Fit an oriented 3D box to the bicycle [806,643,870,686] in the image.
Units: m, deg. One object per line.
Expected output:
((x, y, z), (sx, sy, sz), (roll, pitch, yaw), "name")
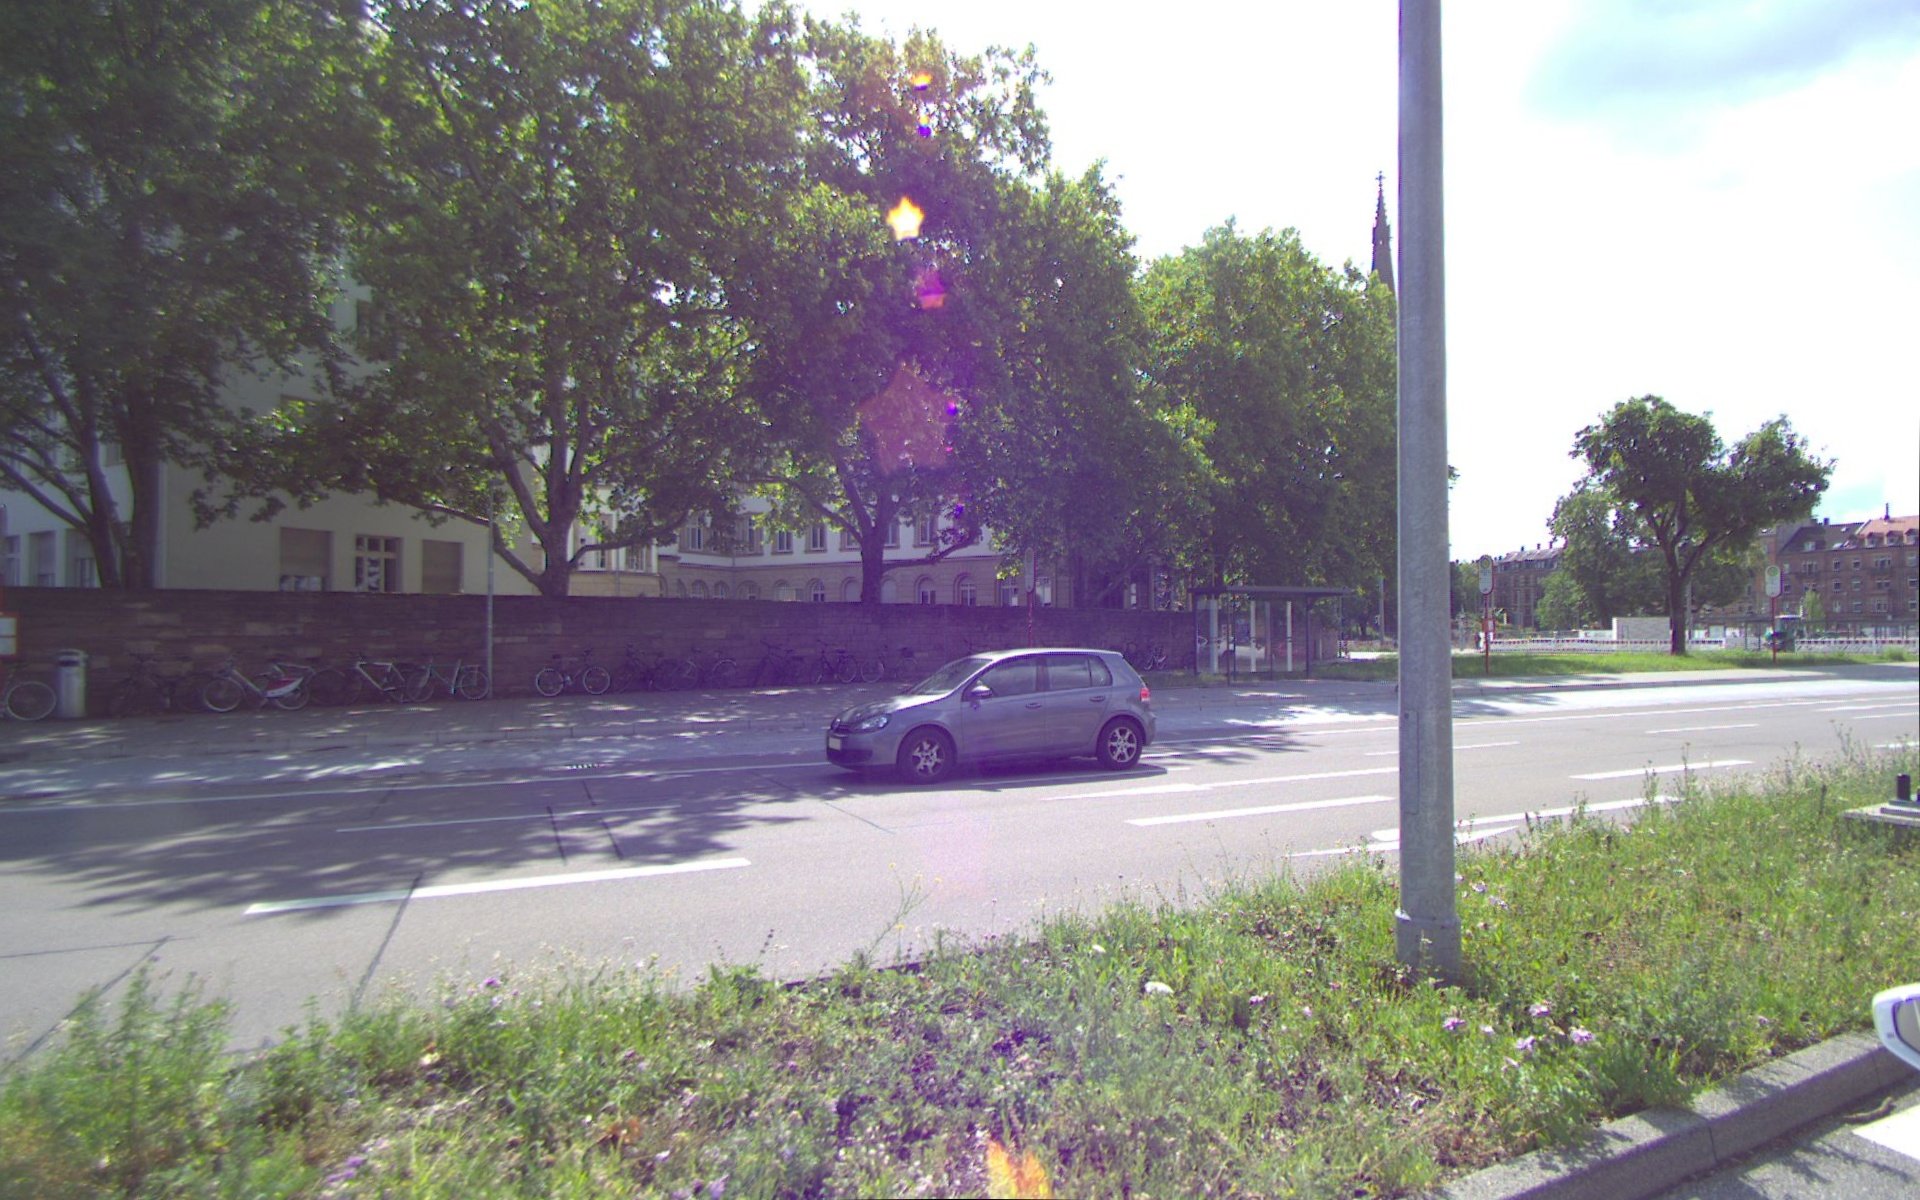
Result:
((-3.252, 1.707, 26.926), (0.576, 1.087, 1.745), (-1, -2, 44), "bicycle")

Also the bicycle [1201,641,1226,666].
((10.700, 2.239, 42.425), (0.387, 1.024, 1.361), (-1, -2, 45), "bicycle")

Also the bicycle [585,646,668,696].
((-7.653, 1.606, 23.095), (1.741, 1.087, 0.577), (1, -2, -40), "bicycle")

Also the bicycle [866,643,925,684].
((-1.805, 1.781, 28.431), (0.576, 1.087, 1.745), (-1, -2, 44), "bicycle")

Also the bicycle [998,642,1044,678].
((1.955, 1.908, 32.176), (0.576, 1.087, 1.622), (-1, -2, 44), "bicycle")

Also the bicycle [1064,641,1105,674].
((4.302, 1.984, 34.694), (0.576, 1.087, 1.622), (-1, -2, 44), "bicycle")

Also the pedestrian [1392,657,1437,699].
((11.157, 1.902, 24.663), (0.733, 0.975, 0.692), (1, -1, -26), "pedestrian")

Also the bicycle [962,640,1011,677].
((0.812, 1.798, 30.976), (0.576, 1.087, 1.622), (-1, -2, 44), "bicycle")

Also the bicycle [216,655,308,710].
((-13.165, 1.546, 18.960), (1.391, 0.968, 0.363), (1, -2, -40), "bicycle")

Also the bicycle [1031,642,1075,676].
((3.111, 1.939, 33.429), (0.576, 1.087, 1.622), (-1, -2, 44), "bicycle")

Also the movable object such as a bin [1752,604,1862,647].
((59.478, 1.836, 70.673), (5.433, 2.922, 2.288), (-1, -2, 20), "movable object such as a bin")

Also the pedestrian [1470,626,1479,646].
((47.030, 3.273, 91.743), (0.491, 1.874, 0.527), (1, -2, -17), "pedestrian")

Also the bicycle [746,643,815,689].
((-4.580, 1.670, 25.708), (0.576, 1.087, 1.745), (-1, -2, 44), "bicycle")

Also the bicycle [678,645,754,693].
((-5.930, 1.665, 24.488), (1.742, 1.087, 0.577), (1, -2, -42), "bicycle")

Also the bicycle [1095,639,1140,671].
((5.688, 1.966, 36.245), (1.856, 1.087, 0.577), (1, -2, -42), "bicycle")

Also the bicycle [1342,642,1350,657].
((25.706, 3.286, 66.854), (0.386, 1.005, 1.523), (0, -2, 18), "bicycle")

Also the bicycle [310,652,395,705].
((-11.997, 1.537, 19.865), (1.391, 0.968, 0.363), (1, -2, -40), "bicycle")

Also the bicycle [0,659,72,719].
((-15.934, 1.498, 16.963), (1.391, 0.968, 0.363), (1, -2, -40), "bicycle")

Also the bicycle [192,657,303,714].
((-12.893, 1.539, 18.203), (1.598, 0.968, 0.366), (0, -1, -16), "bicycle")

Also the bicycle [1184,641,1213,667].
((9.758, 2.192, 41.074), (0.466, 1.024, 1.447), (-1, -2, 45), "bicycle")

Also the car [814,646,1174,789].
((0.431, 1.323, 12.272), (4.089, 1.464, 1.696), (1, -3, -25), "car")

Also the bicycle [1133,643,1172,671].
((7.333, 2.151, 38.235), (0.466, 1.024, 1.952), (-1, -2, 45), "bicycle")

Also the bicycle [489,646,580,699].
((-9.230, 1.550, 21.826), (1.741, 1.087, 0.577), (1, -2, -40), "bicycle")

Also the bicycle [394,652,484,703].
((-10.755, 1.587, 20.764), (1.614, 0.968, 0.367), (1, -2, -40), "bicycle")

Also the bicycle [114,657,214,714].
((-14.323, 1.526, 18.099), (1.391, 0.968, 0.363), (1, -2, -40), "bicycle")
